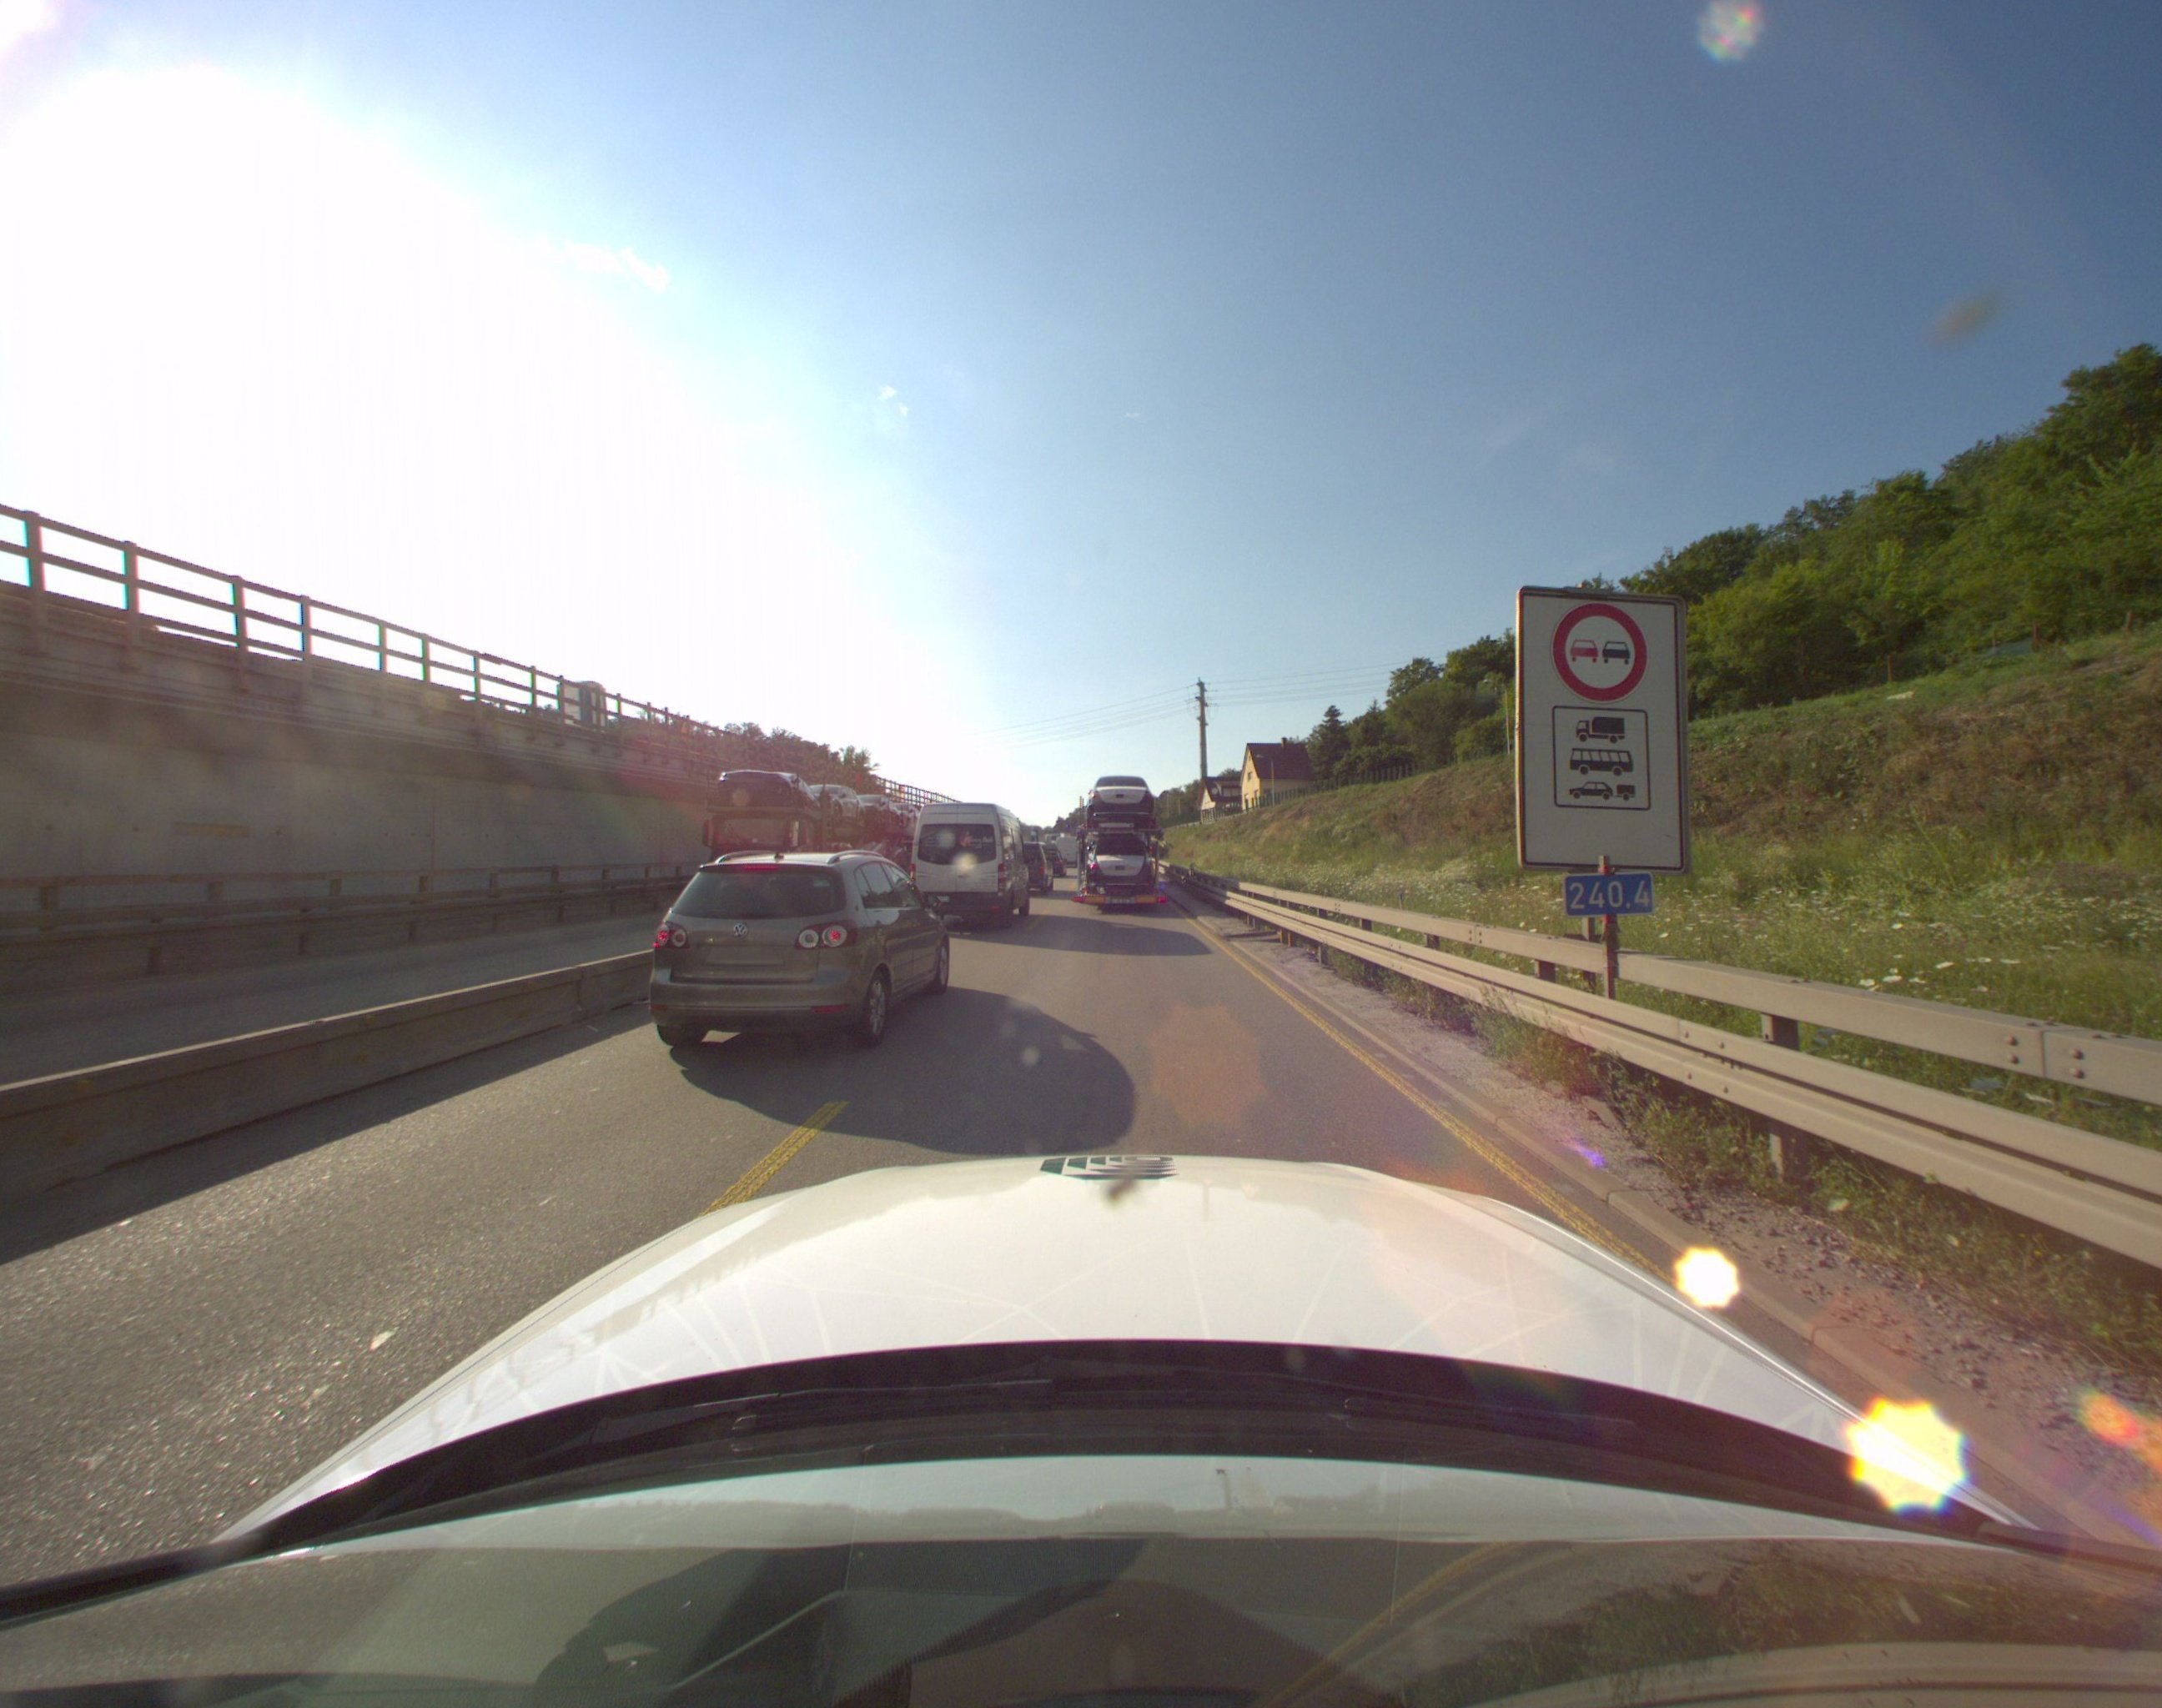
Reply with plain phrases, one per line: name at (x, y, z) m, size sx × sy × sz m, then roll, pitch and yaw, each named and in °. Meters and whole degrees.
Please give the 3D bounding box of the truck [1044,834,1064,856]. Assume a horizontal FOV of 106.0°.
truck at (-4.366, -1.466, 134.097) m, size 2.705 × 3.424 × 8.141 m, roll -3°, pitch 0°, yaw 1°

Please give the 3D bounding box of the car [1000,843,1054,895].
car at (-2.039, 0.574, 31.796) m, size 1.802 × 1.904 × 3.999 m, roll 0°, pitch -1°, yaw 0°

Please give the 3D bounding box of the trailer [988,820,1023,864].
trailer at (-7.361, -1.202, 80.290) m, size 2.754 × 4.141 × 5.978 m, roll 0°, pitch 1°, yaw 1°

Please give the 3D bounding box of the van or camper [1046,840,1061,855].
van or camper at (-5.349, -1.277, 158.754) m, size 2.304 × 2.662 × 6.457 m, roll -2°, pitch 1°, yaw 1°

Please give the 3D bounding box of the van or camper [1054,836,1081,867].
van or camper at (-1.149, -0.216, 69.821) m, size 1.960 × 2.591 × 5.045 m, roll 0°, pitch 0°, yaw 3°

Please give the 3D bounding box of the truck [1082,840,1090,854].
truck at (1.534, -2.113, 252.153) m, size 2.191 × 4.426 × 8.227 m, roll -1°, pitch 0°, yaw -1°

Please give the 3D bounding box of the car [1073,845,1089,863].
car at (0.012, -0.046, 96.293) m, size 1.879 × 2.100 × 3.766 m, roll 0°, pitch 0°, yaw 1°

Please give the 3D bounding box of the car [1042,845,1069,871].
car at (-2.539, 0.384, 82.260) m, size 2.463 × 2.534 × 4.001 m, roll -1°, pitch 0°, yaw 1°

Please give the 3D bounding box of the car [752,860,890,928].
car at (-6.146, 0.869, 19.849) m, size 1.702 × 1.445 × 4.602 m, roll 0°, pitch 0°, yaw 2°

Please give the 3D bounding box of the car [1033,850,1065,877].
car at (-1.868, 0.524, 48.593) m, size 1.720 × 1.522 × 3.973 m, roll 0°, pitch 1°, yaw 0°

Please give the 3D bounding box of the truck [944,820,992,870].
truck at (-7.961, -0.607, 58.116) m, size 2.539 × 3.409 × 5.533 m, roll 0°, pitch 0°, yaw 1°

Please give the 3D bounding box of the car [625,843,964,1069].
car at (-2.359, 0.748, 7.953) m, size 1.674 × 1.588 × 4.273 m, roll -1°, pitch -1°, yaw 1°

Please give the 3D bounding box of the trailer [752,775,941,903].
trailer at (-8.732, -0.464, 33.494) m, size 2.761 × 4.031 × 15.769 m, roll 0°, pitch 0°, yaw 2°

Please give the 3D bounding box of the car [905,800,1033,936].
car at (-2.374, 0.239, 18.819) m, size 1.986 × 2.648 × 5.533 m, roll -1°, pitch 1°, yaw 2°

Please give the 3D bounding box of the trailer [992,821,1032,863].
trailer at (-7.201, -1.291, 87.024) m, size 2.754 × 4.141 × 14.030 m, roll 0°, pitch 1°, yaw 1°

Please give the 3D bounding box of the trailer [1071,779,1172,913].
trailer at (1.324, -0.216, 29.204) m, size 2.672 × 3.534 × 15.295 m, roll 0°, pitch 0°, yaw 2°

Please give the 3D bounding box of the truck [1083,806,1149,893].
truck at (1.559, -0.195, 36.666) m, size 2.672 × 3.534 × 7.196 m, roll 0°, pitch 0°, yaw 2°

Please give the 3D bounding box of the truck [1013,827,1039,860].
truck at (-6.918, -1.277, 103.517) m, size 2.850 × 4.008 × 5.659 m, roll 0°, pitch 0°, yaw 1°

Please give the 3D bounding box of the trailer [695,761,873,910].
trailer at (-8.941, -0.485, 25.611) m, size 2.761 × 4.031 × 7.210 m, roll 0°, pitch 0°, yaw 2°
